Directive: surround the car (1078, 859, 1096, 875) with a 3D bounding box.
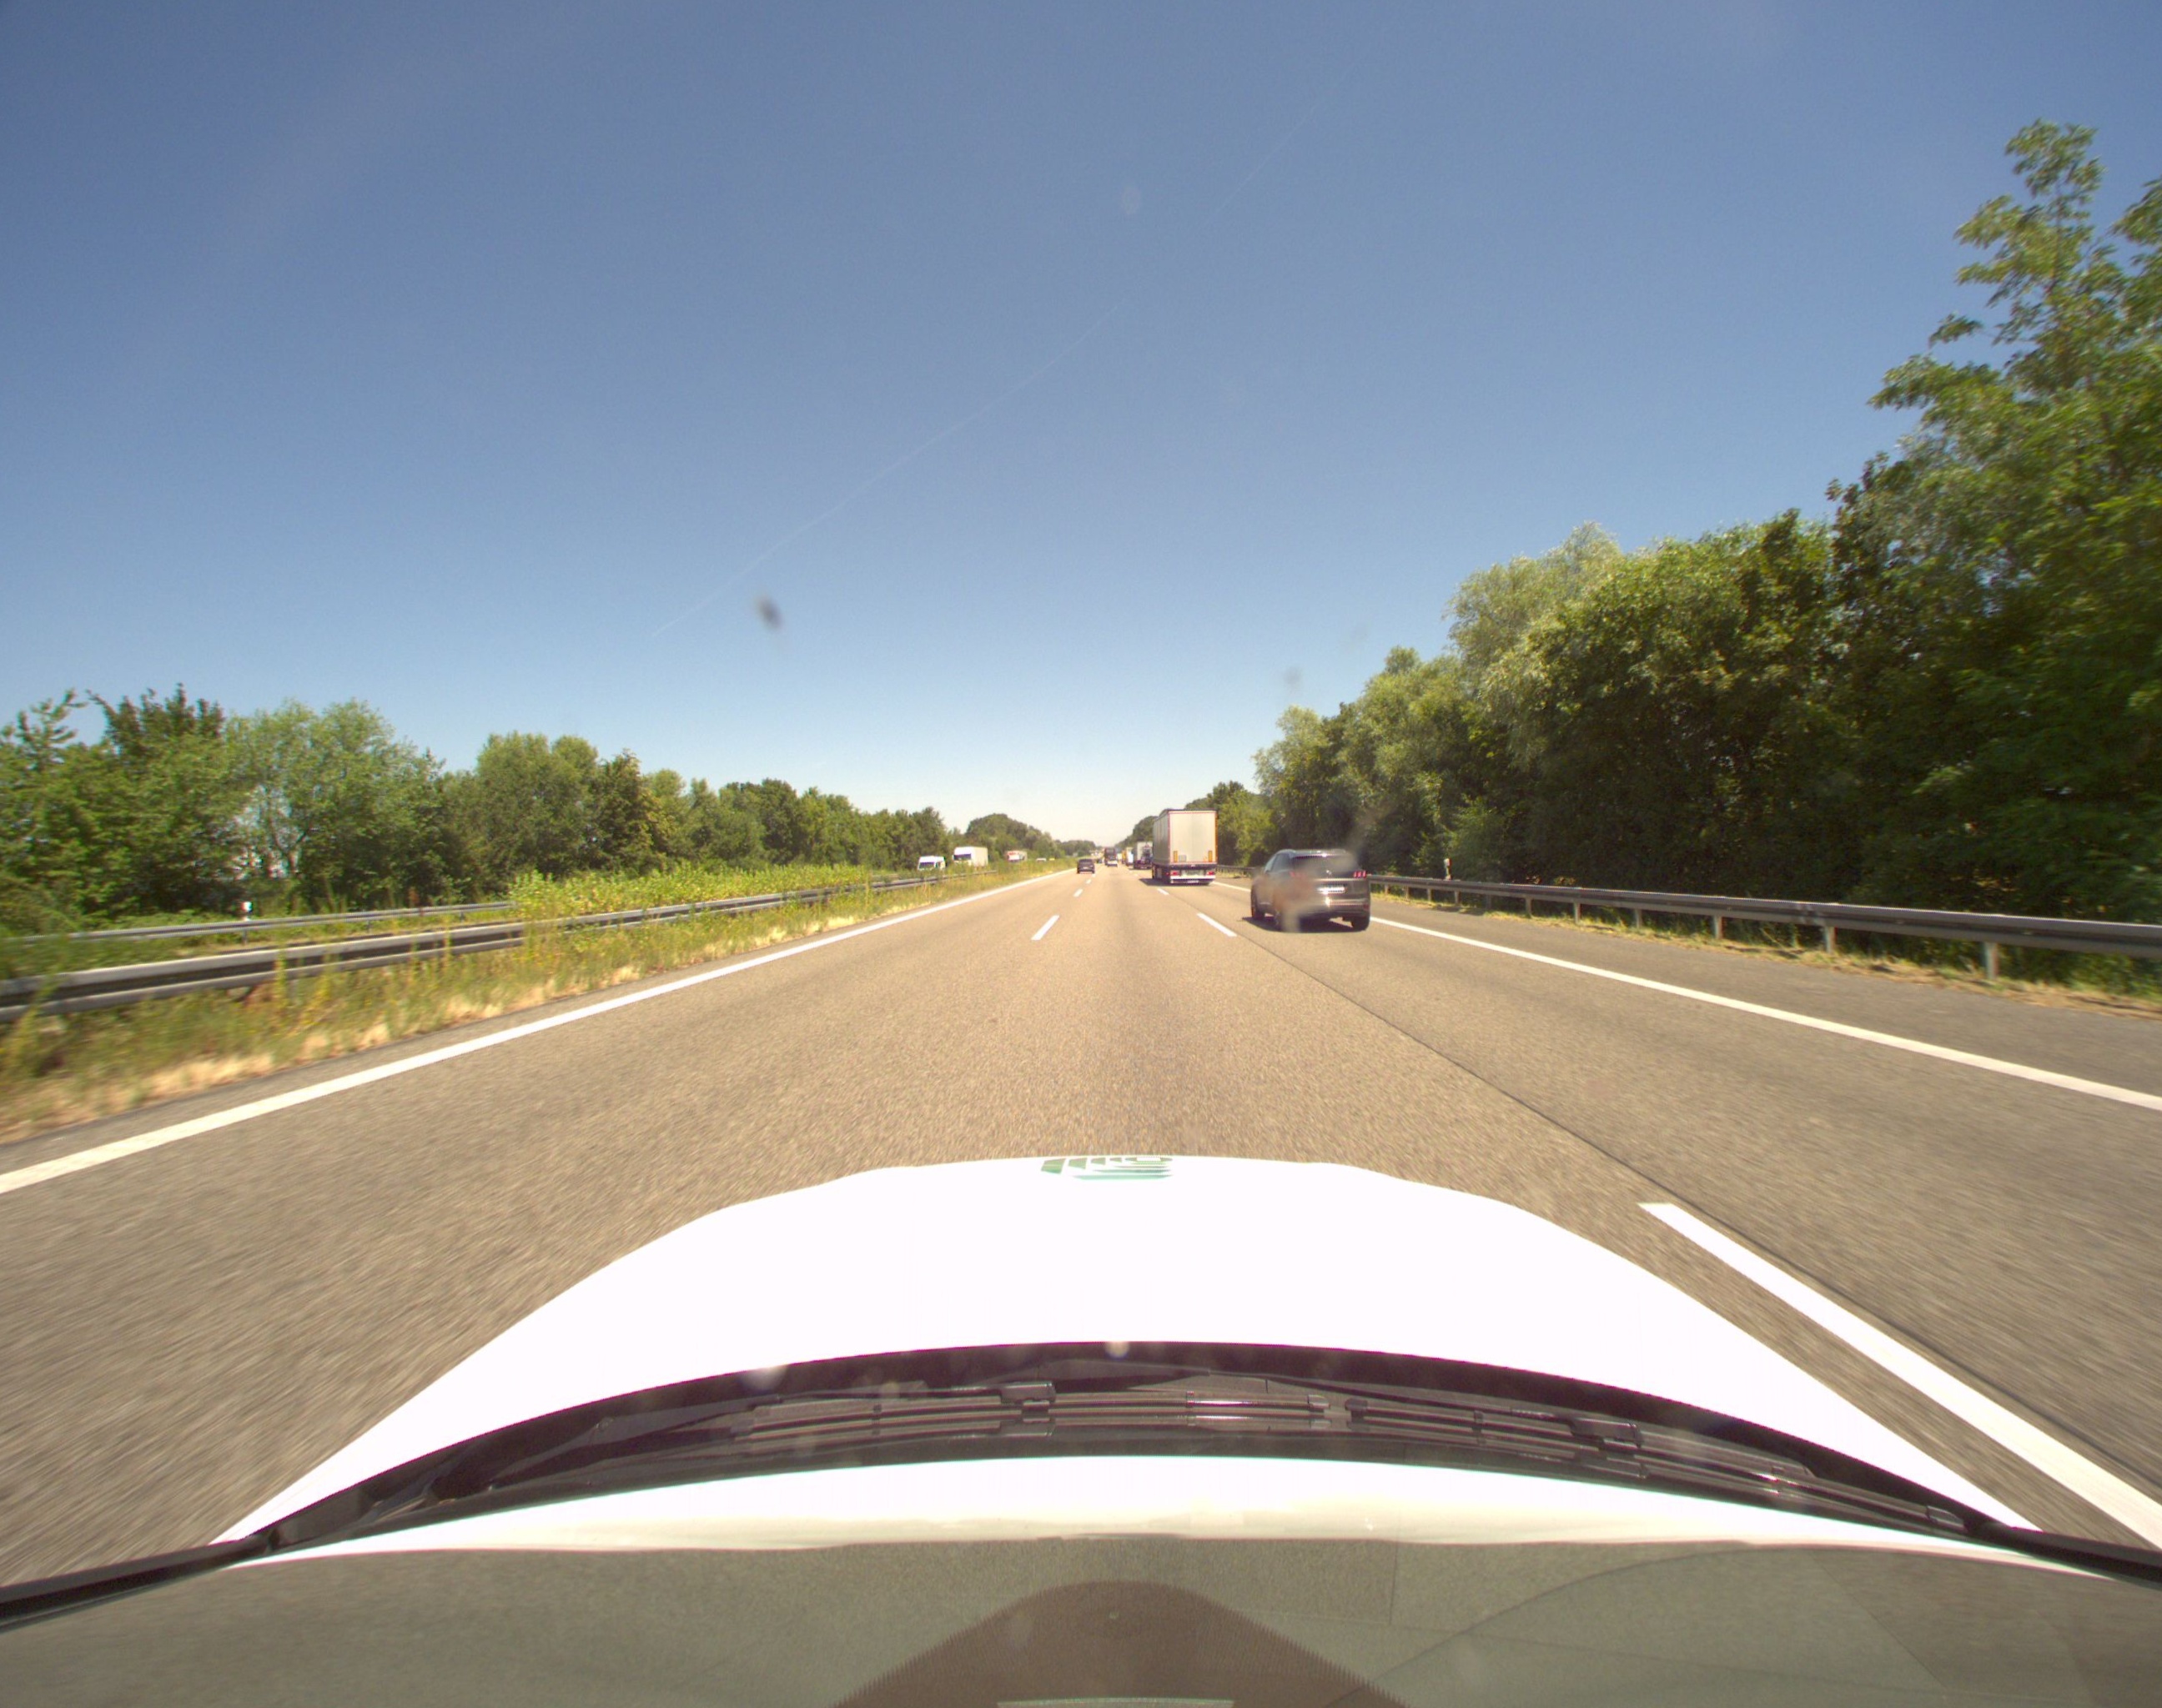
[{"bbox_3d":[0.636,1.271,84.007,1.752,1.531,4.288,0,1,2],"label":"car"}]

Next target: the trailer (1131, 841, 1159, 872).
[{"bbox_3d":[8.391,0.292,108.189,3.111,3.926,9.939,0,1,1],"label":"trailer"}]

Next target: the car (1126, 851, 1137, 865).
[{"bbox_3d":[9.277,0.749,150.887,1.900,2.425,4.288,0,1,2],"label":"car"}]

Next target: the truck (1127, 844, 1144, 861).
[{"bbox_3d":[12.579,-0.343,188.402,3.652,3.725,7.114,0,1,3],"label":"truck"}]

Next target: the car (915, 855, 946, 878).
[{"bbox_3d":[-16.654,1.342,90.576,2.095,2.463,6.018,-2,0,2],"label":"car"}]

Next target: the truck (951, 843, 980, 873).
[{"bbox_3d":[-16.721,0.525,118.520,3.060,4.111,6.528,0,0,2],"label":"truck"}]

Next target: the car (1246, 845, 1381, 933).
[{"bbox_3d":[4.826,0.653,17.504,1.838,1.629,4.137,-1,0,2],"label":"car"}]

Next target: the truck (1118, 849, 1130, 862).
[{"bbox_3d":[12.321,0.421,233.233,3.474,3.725,7.114,0,1,3],"label":"truck"}]

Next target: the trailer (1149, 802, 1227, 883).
[{"bbox_3d":[6.085,-0.556,48.846,3.421,4.181,13.640,0,0,2],"label":"trailer"}]

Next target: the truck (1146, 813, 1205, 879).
[{"bbox_3d":[6.332,-0.446,55.382,3.451,4.177,6.847,0,-1,2],"label":"truck"}]

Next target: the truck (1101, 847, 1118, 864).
[{"bbox_3d":[6.612,0.261,188.475,3.652,3.725,7.114,0,1,3],"label":"truck"}]

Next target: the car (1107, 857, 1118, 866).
[{"bbox_3d":[5.631,1.314,145.166,1.893,1.531,4.086,0,1,2],"label":"car"}]

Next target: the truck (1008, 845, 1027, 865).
[{"bbox_3d":[-14.062,0.159,181.269,3.059,4.310,10.634,0,1,3],"label":"truck"}]

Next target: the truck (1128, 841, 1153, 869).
[{"bbox_3d":[8.617,0.145,118.227,3.047,3.879,10.036,0,1,1],"label":"truck"}]

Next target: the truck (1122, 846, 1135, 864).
[{"bbox_3d":[10.210,0.140,174.960,2.781,3.725,7.114,0,1,3],"label":"truck"}]
